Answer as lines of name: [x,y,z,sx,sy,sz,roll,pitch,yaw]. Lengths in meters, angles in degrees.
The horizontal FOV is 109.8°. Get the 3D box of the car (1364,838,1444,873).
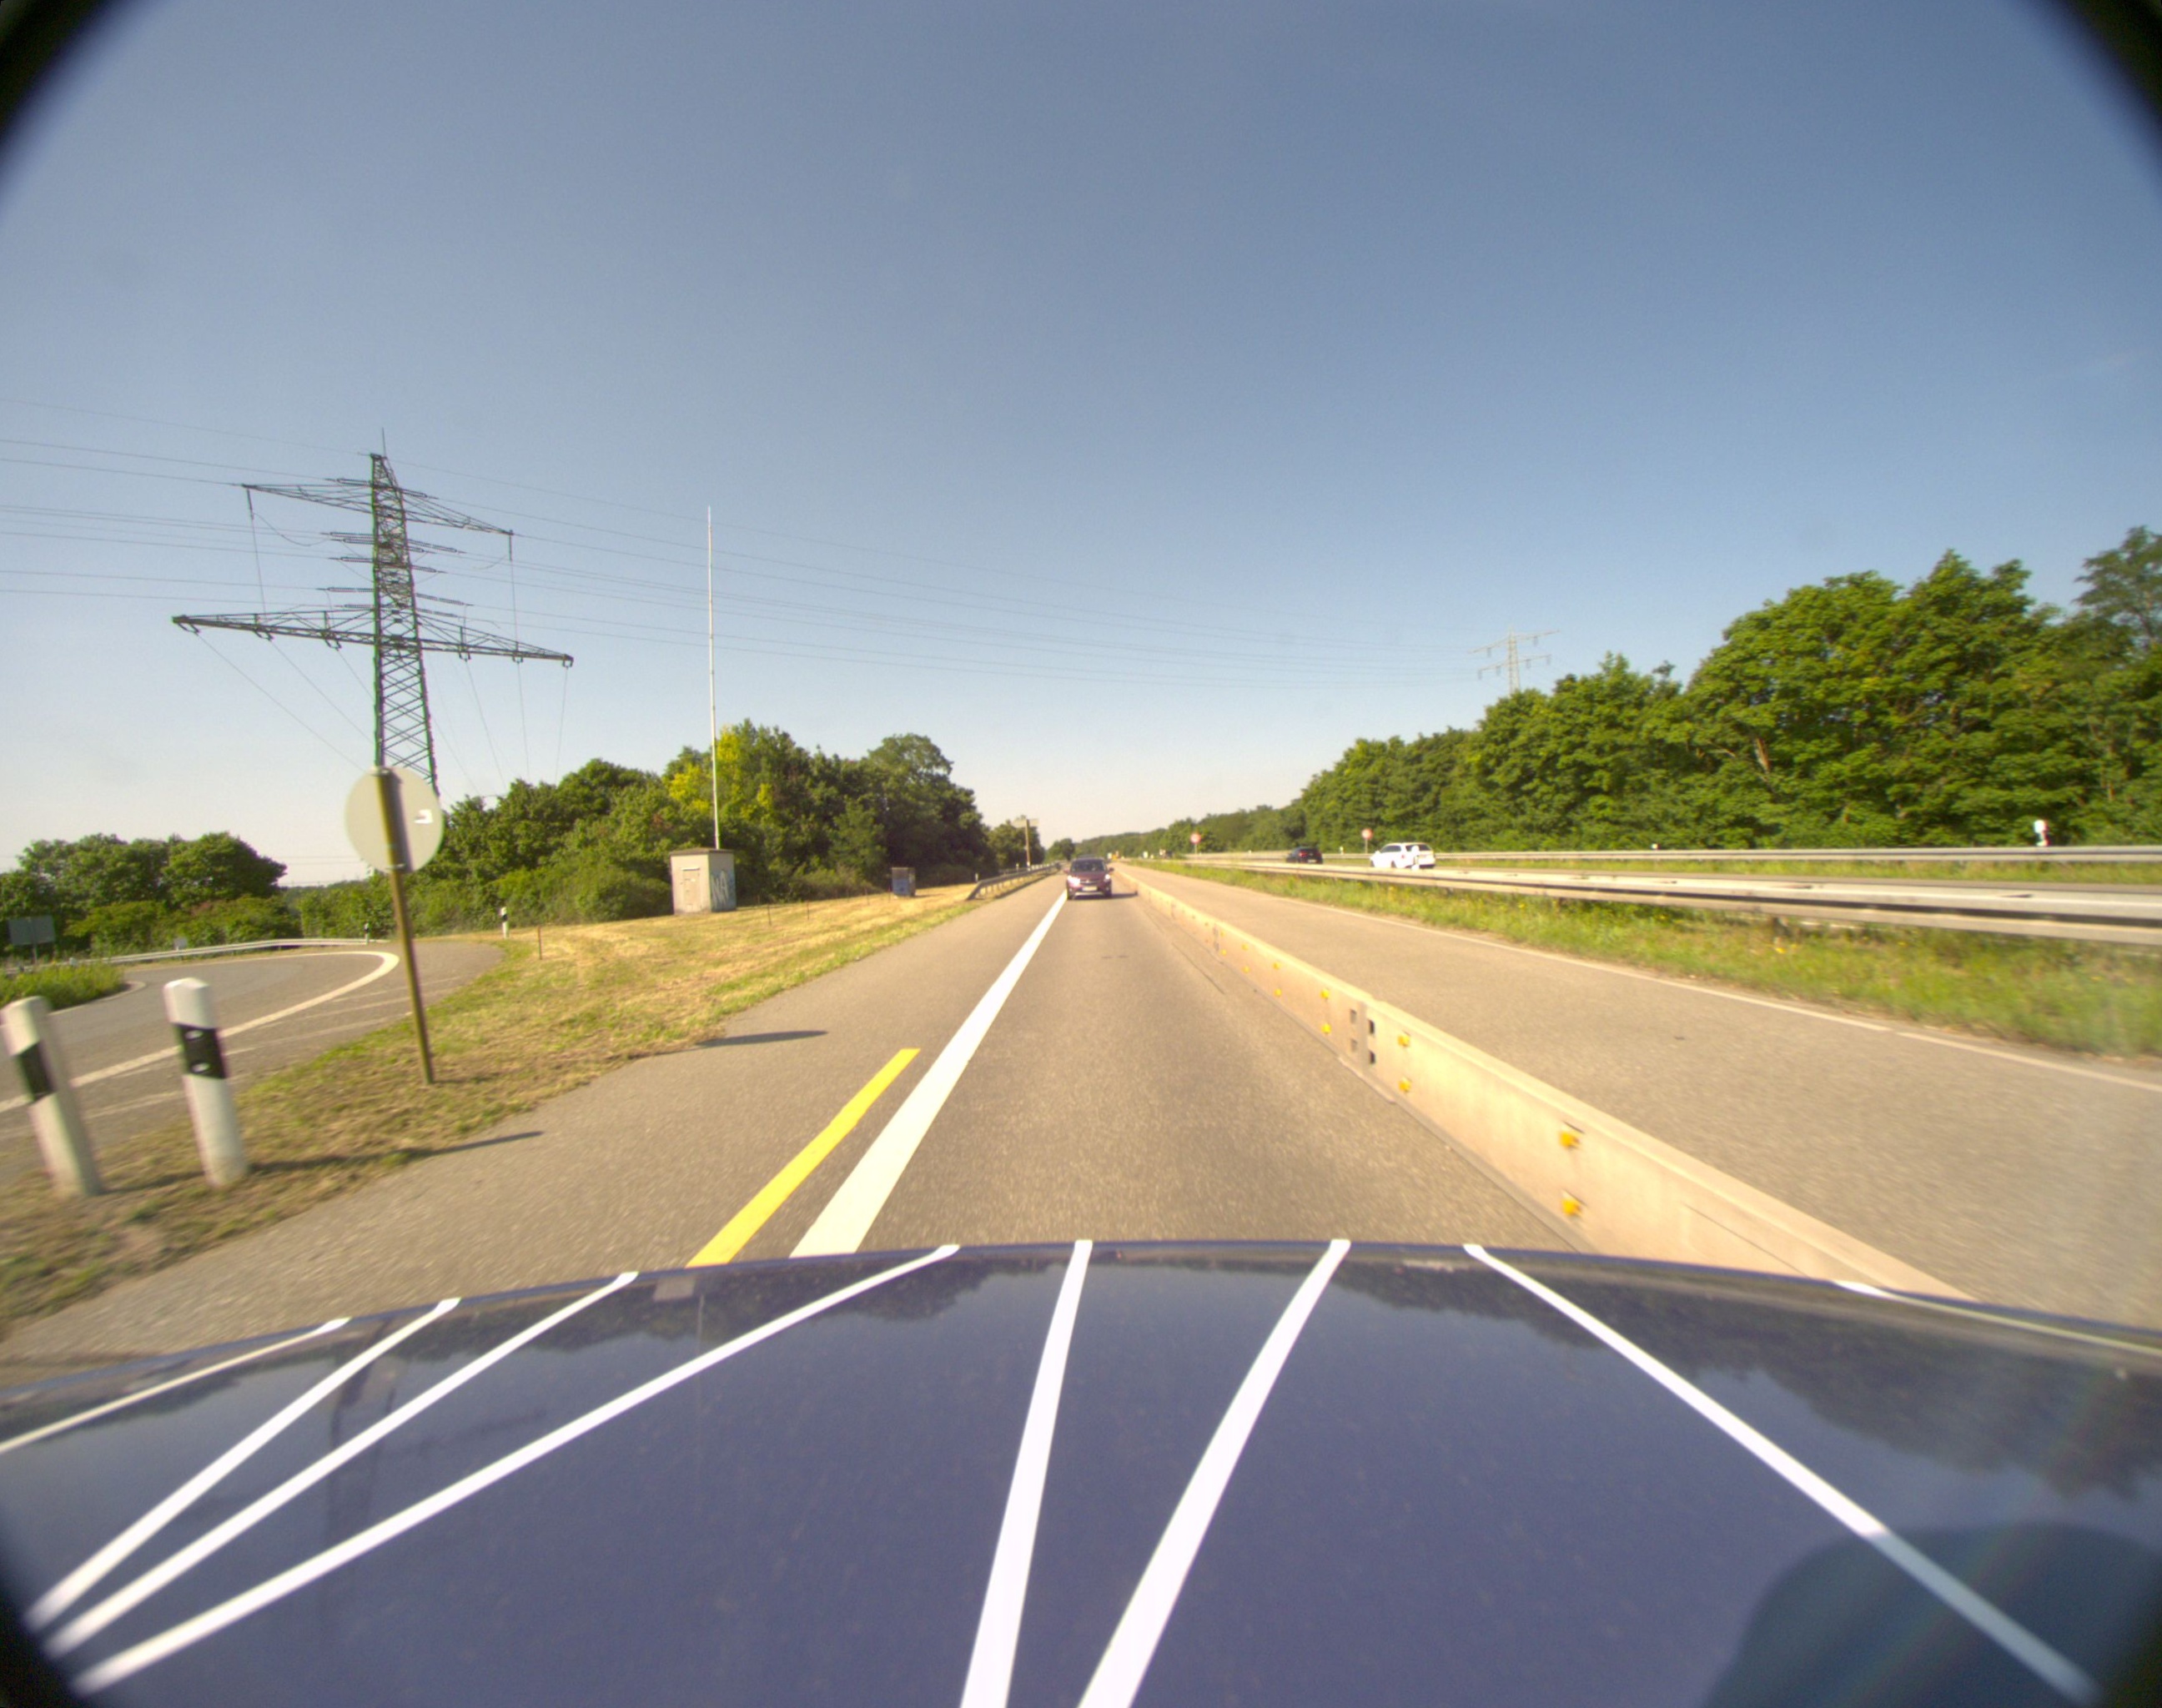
car: [15.472,0.055,36.703,1.764,1.462,4.794,-4,0,0]

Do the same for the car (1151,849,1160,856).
car: [18.059,-0.390,184.250,1.651,1.522,3.818,-2,0,1]

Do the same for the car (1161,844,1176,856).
car: [17.044,-0.782,148.100,1.999,2.023,5.167,-4,0,-1]

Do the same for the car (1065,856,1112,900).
car: [0.341,0.860,28.619,1.587,1.491,4.416,-2,0,2]

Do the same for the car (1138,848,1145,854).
car: [18.507,-0.895,230.799,1.767,1.574,4.422,-4,0,1]

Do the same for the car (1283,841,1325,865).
car: [15.650,-0.069,53.445,1.743,1.485,4.109,-3,0,1]
